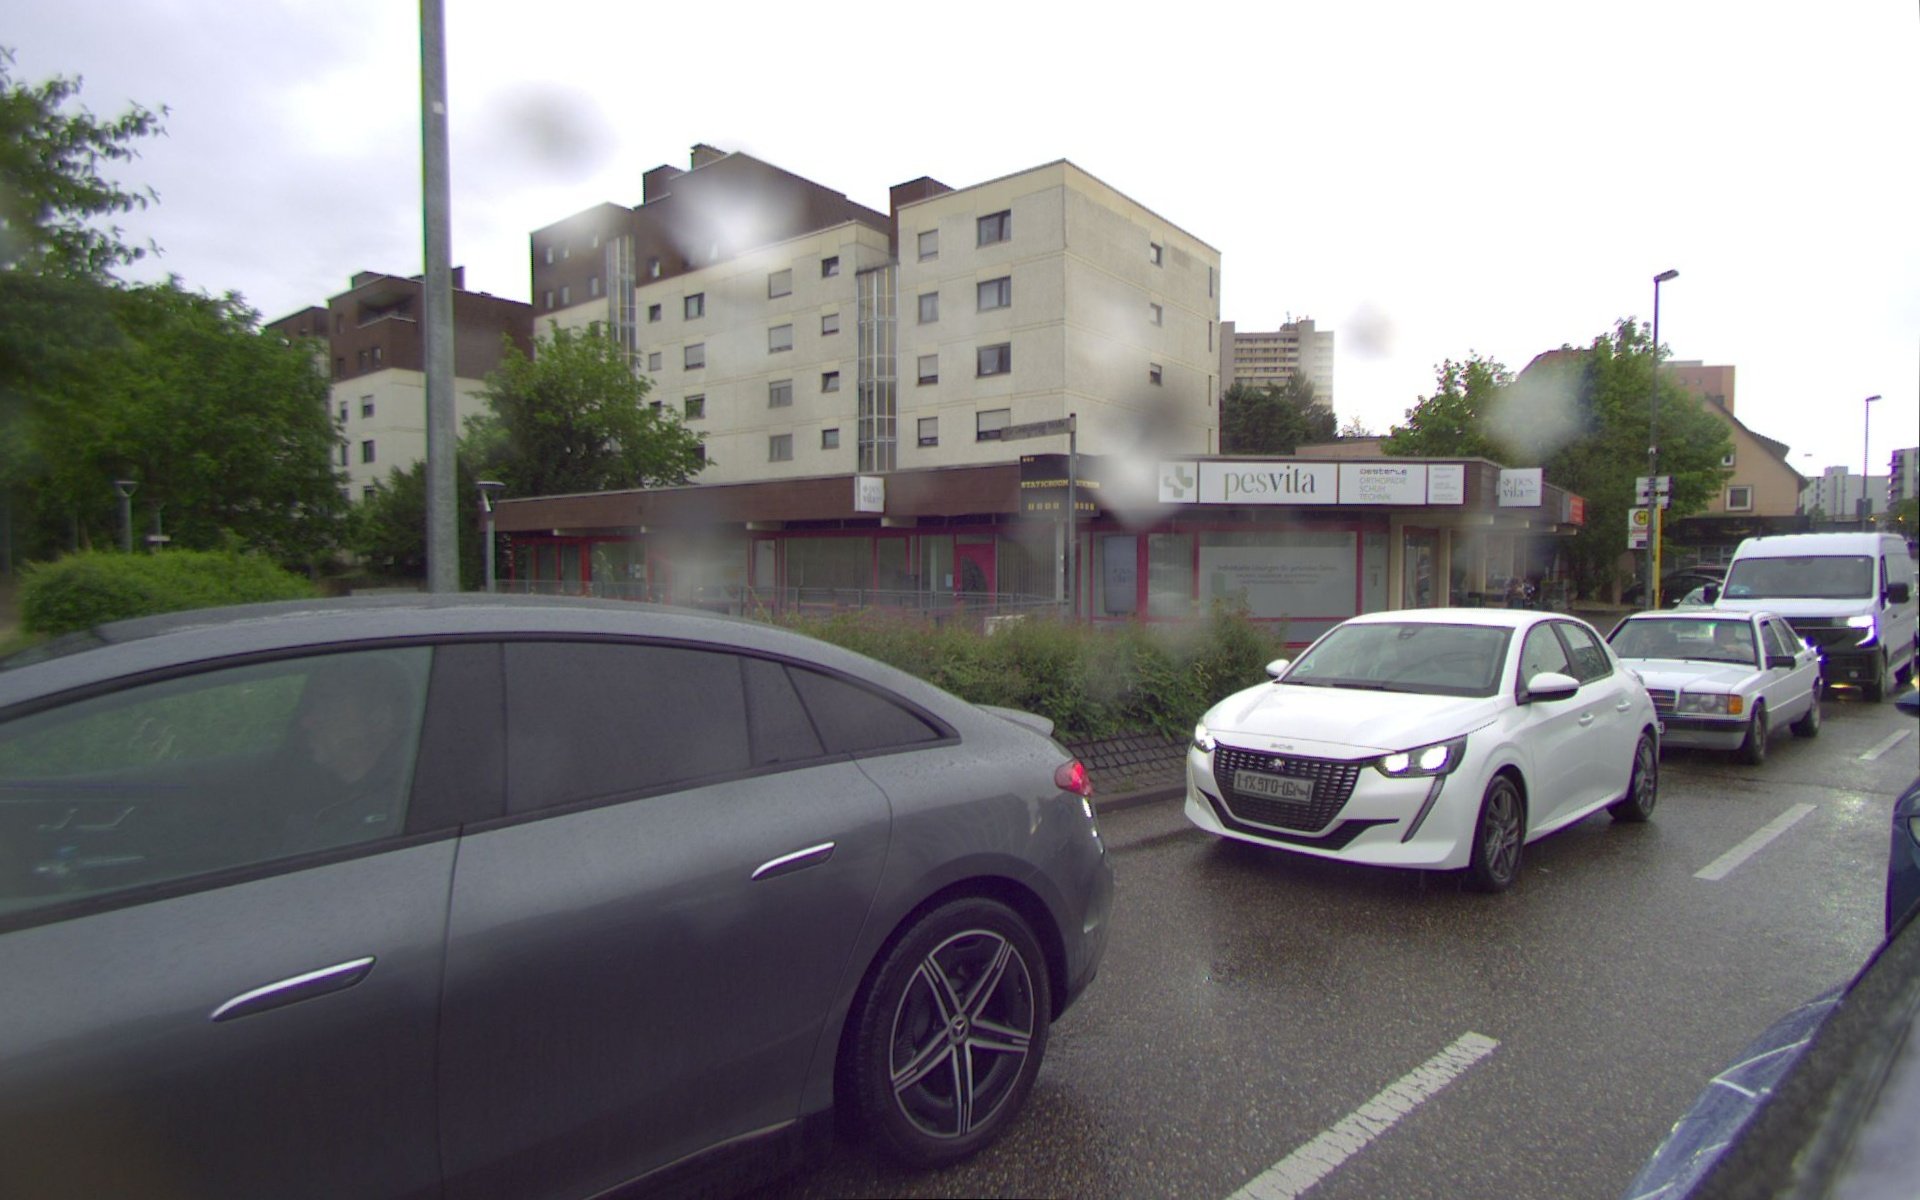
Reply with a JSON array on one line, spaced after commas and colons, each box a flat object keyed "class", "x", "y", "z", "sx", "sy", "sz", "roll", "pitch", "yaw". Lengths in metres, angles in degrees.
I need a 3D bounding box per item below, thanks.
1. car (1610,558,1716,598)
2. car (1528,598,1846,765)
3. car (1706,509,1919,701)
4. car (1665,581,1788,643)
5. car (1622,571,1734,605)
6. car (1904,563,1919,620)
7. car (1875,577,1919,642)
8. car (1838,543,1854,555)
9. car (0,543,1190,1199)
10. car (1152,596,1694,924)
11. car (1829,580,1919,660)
[{"class": "car", "x": 33.117, "y": -1.040, "z": 47.721, "sx": 3.981, "sy": 1.801, "sz": 1.858, "roll": 2, "pitch": 2, "yaw": 39}, {"class": "car", "x": 7.690, "y": 0.683, "z": 10.562, "sx": 4.089, "sy": 1.362, "sz": 1.787, "roll": -1, "pitch": 1, "yaw": -41}, {"class": "car", "x": 14.008, "y": -0.016, "z": 16.299, "sx": 6.021, "sy": 2.549, "sz": 2.194, "roll": -2, "pitch": 2, "yaw": -43}, {"class": "car", "x": 20.188, "y": 0.262, "z": 26.614, "sx": 3.930, "sy": 1.509, "sz": 1.787, "roll": -1, "pitch": 1, "yaw": -41}, {"class": "car", "x": 32.085, "y": -0.571, "z": 45.253, "sx": 3.981, "sy": 1.445, "sz": 1.858, "roll": 2, "pitch": 2, "yaw": 39}, {"class": "car", "x": 36.353, "y": -0.328, "z": 37.186, "sx": 3.930, "sy": 2.038, "sz": 1.998, "roll": -1, "pitch": 3, "yaw": -40}, {"class": "car", "x": 25.385, "y": 0.194, "z": 26.359, "sx": 3.933, "sy": 1.588, "sz": 1.996, "roll": -2, "pitch": 1, "yaw": -43}, {"class": "car", "x": 139.545, "y": -8.030, "z": 159.467, "sx": 1.657, "sy": 1.654, "sz": 3.754, "roll": 1, "pitch": 1, "yaw": 37}, {"class": "car", "x": -1.627, "y": 0.669, "z": 2.399, "sx": 4.724, "sy": 1.485, "sz": 1.840, "roll": 0, "pitch": -1, "yaw": -41}, {"class": "car", "x": 3.166, "y": 0.710, "z": 6.516, "sx": 4.043, "sy": 1.433, "sz": 1.665, "roll": -1, "pitch": 1, "yaw": -41}, {"class": "car", "x": 20.072, "y": 0.364, "z": 21.547, "sx": 3.930, "sy": 1.558, "sz": 1.802, "roll": -1, "pitch": 2, "yaw": -41}]
